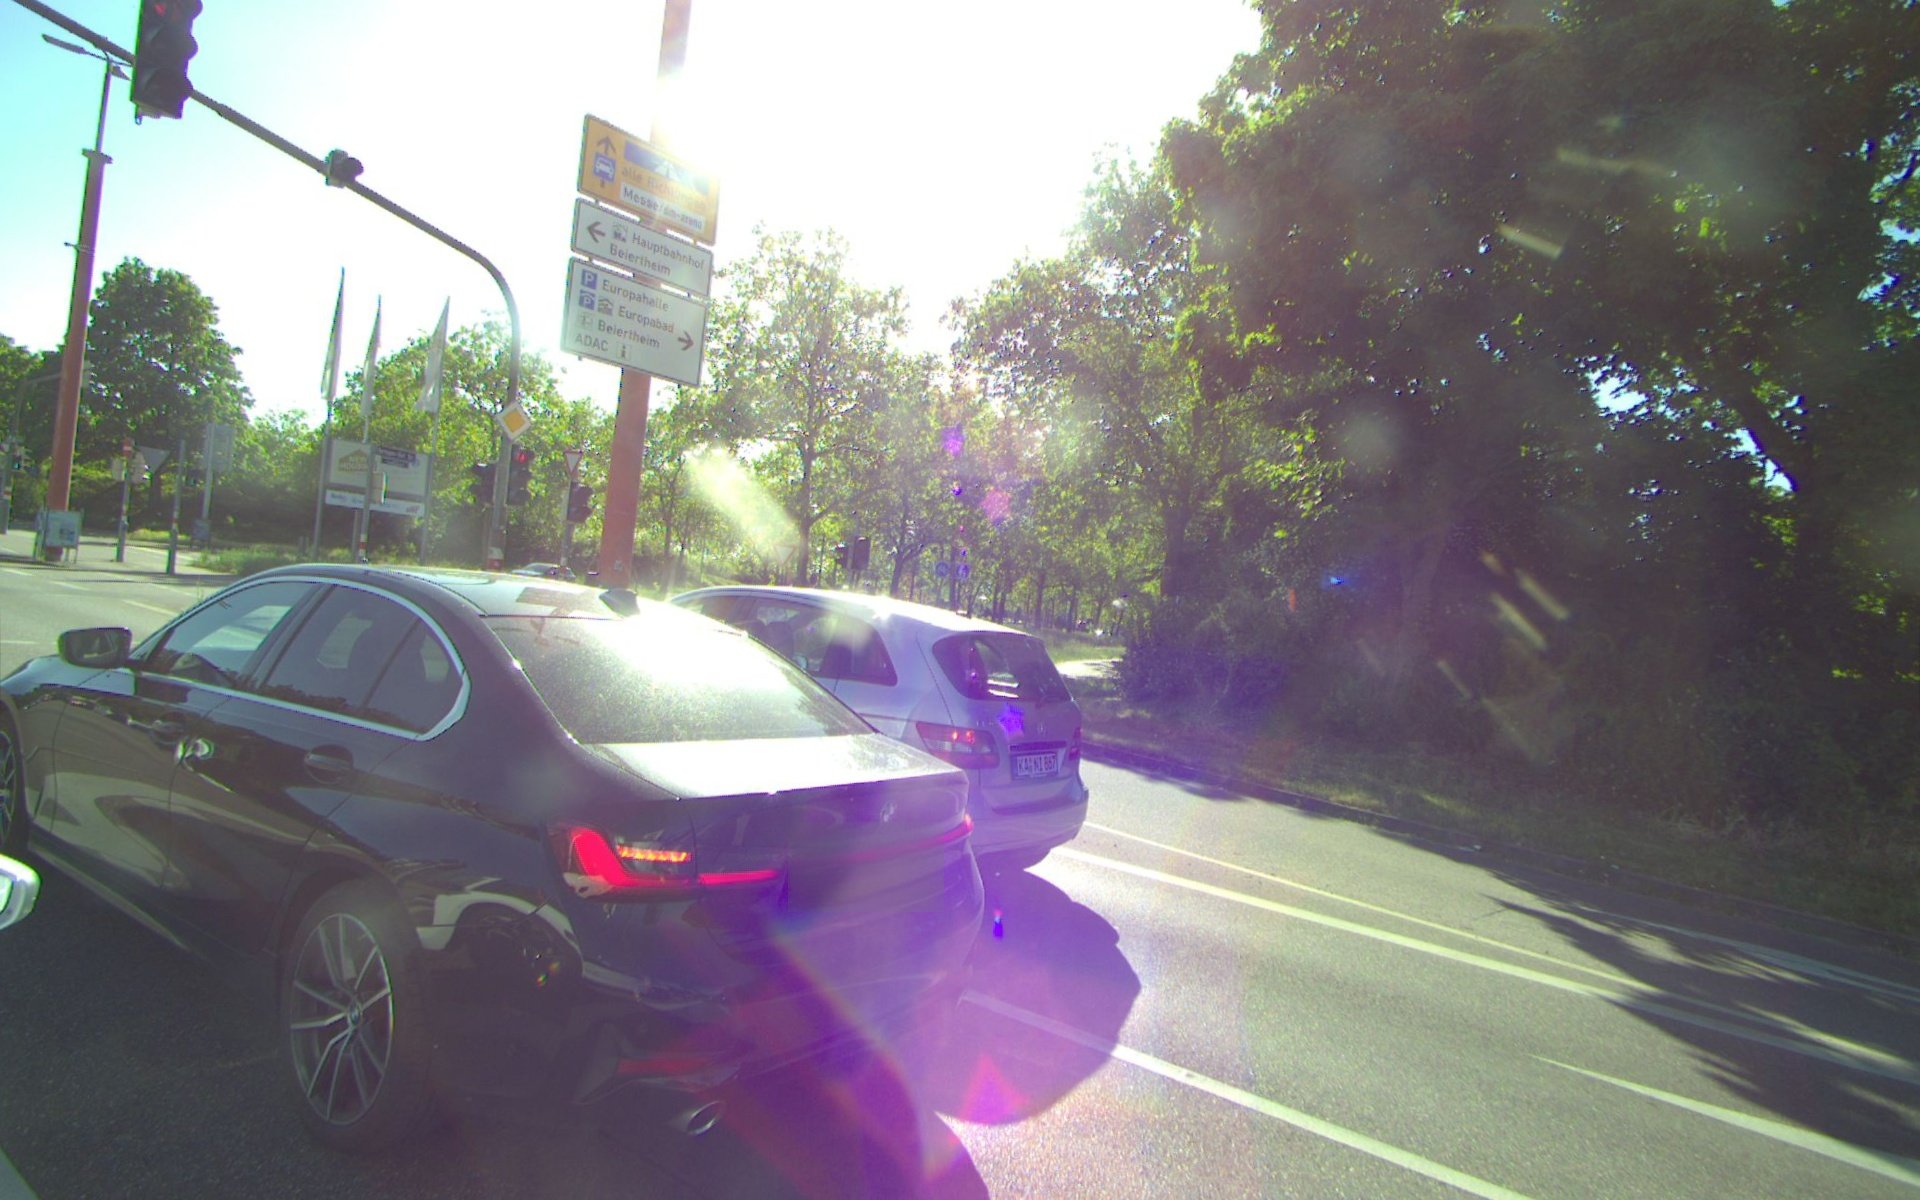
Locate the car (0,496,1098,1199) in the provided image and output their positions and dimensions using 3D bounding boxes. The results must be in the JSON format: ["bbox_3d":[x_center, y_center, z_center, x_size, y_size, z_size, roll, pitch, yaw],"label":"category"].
[{"bbox_3d":[-1.961,0.531,3.884,4.403,1.411,1.996,7,0,32],"label":"car"}]

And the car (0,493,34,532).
[{"bbox_3d":[-44.145,-4.142,44.357,4.214,1.592,2.159,7,0,-15],"label":"car"}]

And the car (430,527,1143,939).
[{"bbox_3d":[-1.283,0.642,6.792,4.403,1.706,1.970,7,-1,32],"label":"car"}]
